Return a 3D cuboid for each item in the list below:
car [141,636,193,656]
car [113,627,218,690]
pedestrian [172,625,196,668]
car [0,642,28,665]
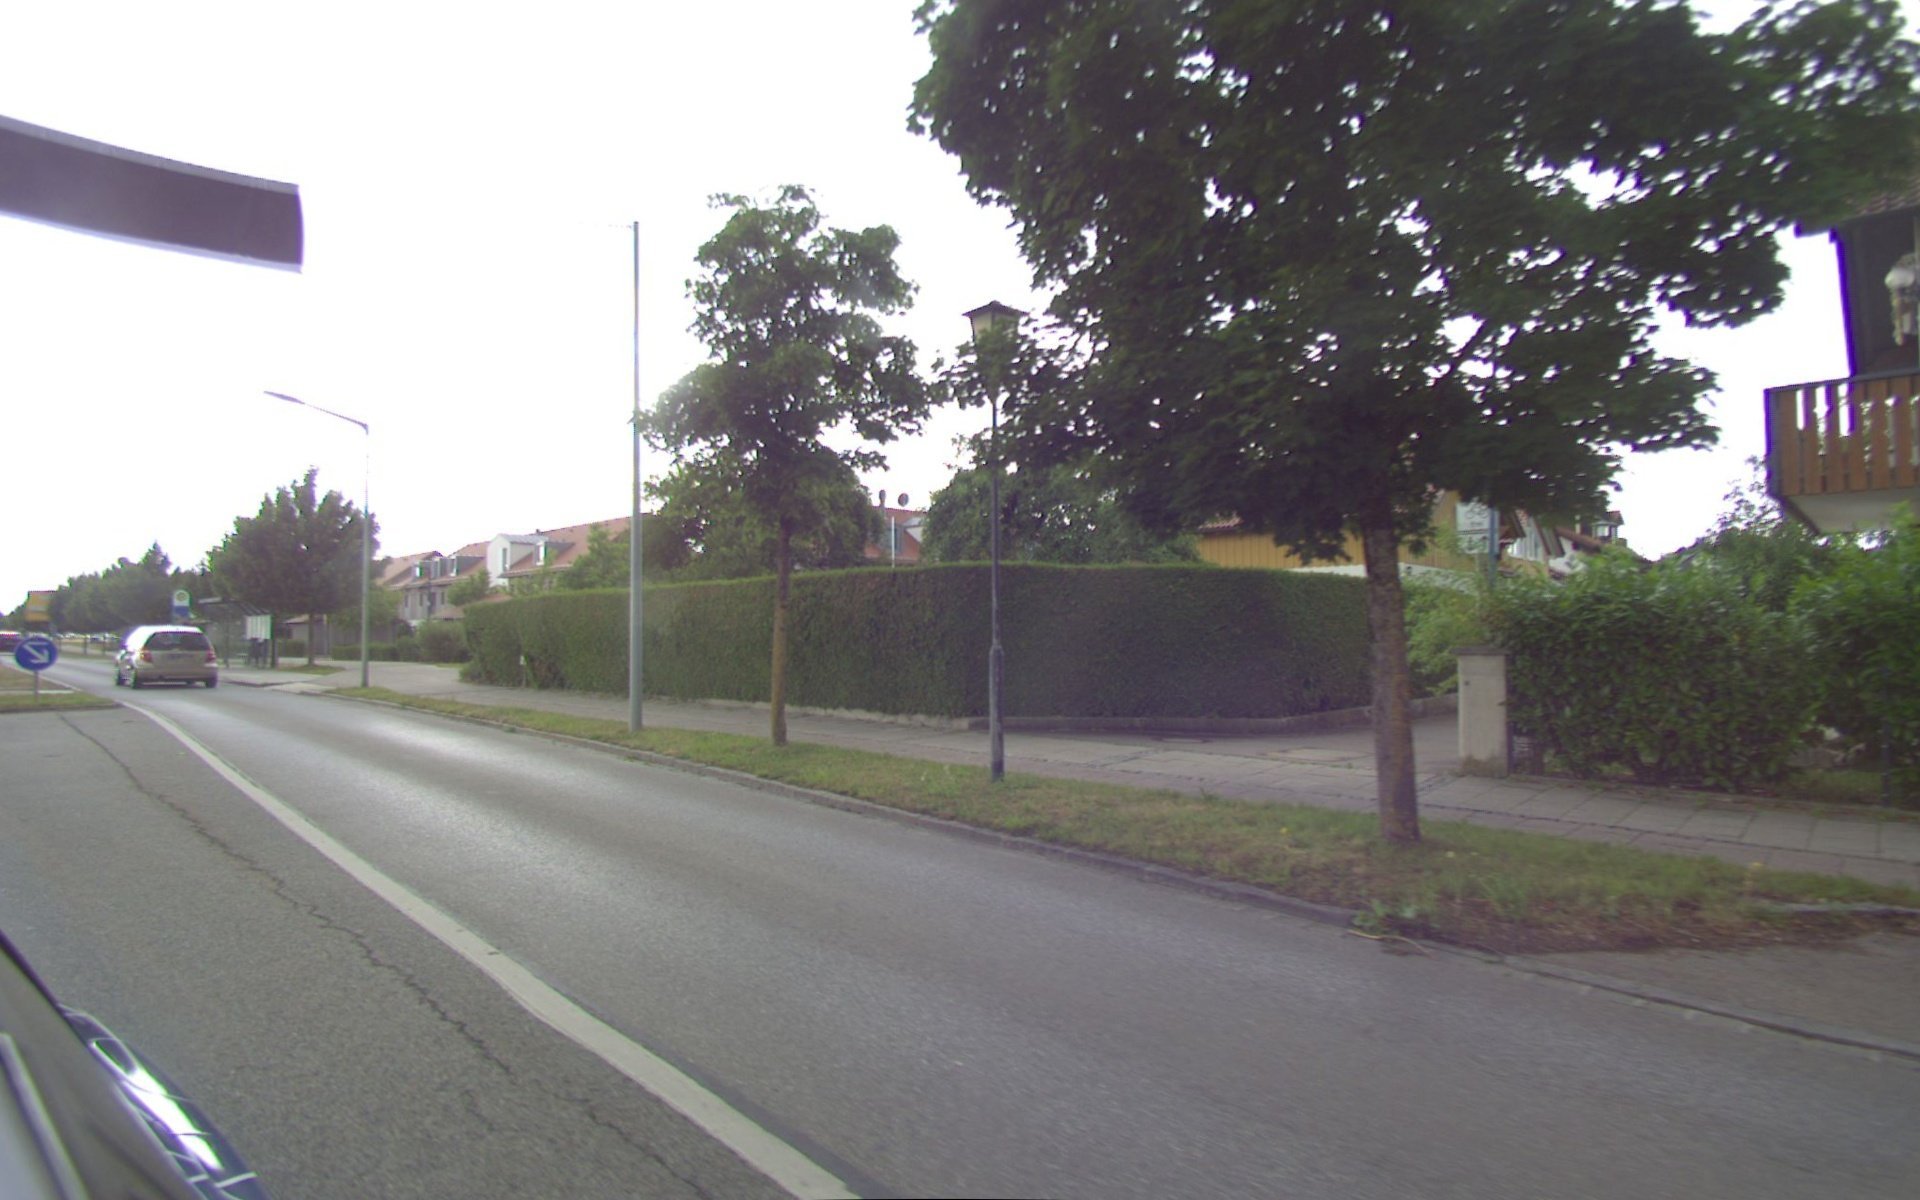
[{"bbox_3d":[-90.736,5.249,115.824,4.504,2.029,2.002,-1,-1,-43],"label":"car"},{"bbox_3d":[-20.938,1.528,26.629,3.509,1.544,1.687,-2,-4,45],"label":"car"},{"bbox_3d":[-30.335,1.812,39.555,0.812,1.649,0.582,-2,-3,42],"label":"pedestrian"},{"bbox_3d":[-63.076,3.518,66.837,4.496,1.465,1.899,-2,-3,43],"label":"car"}]
